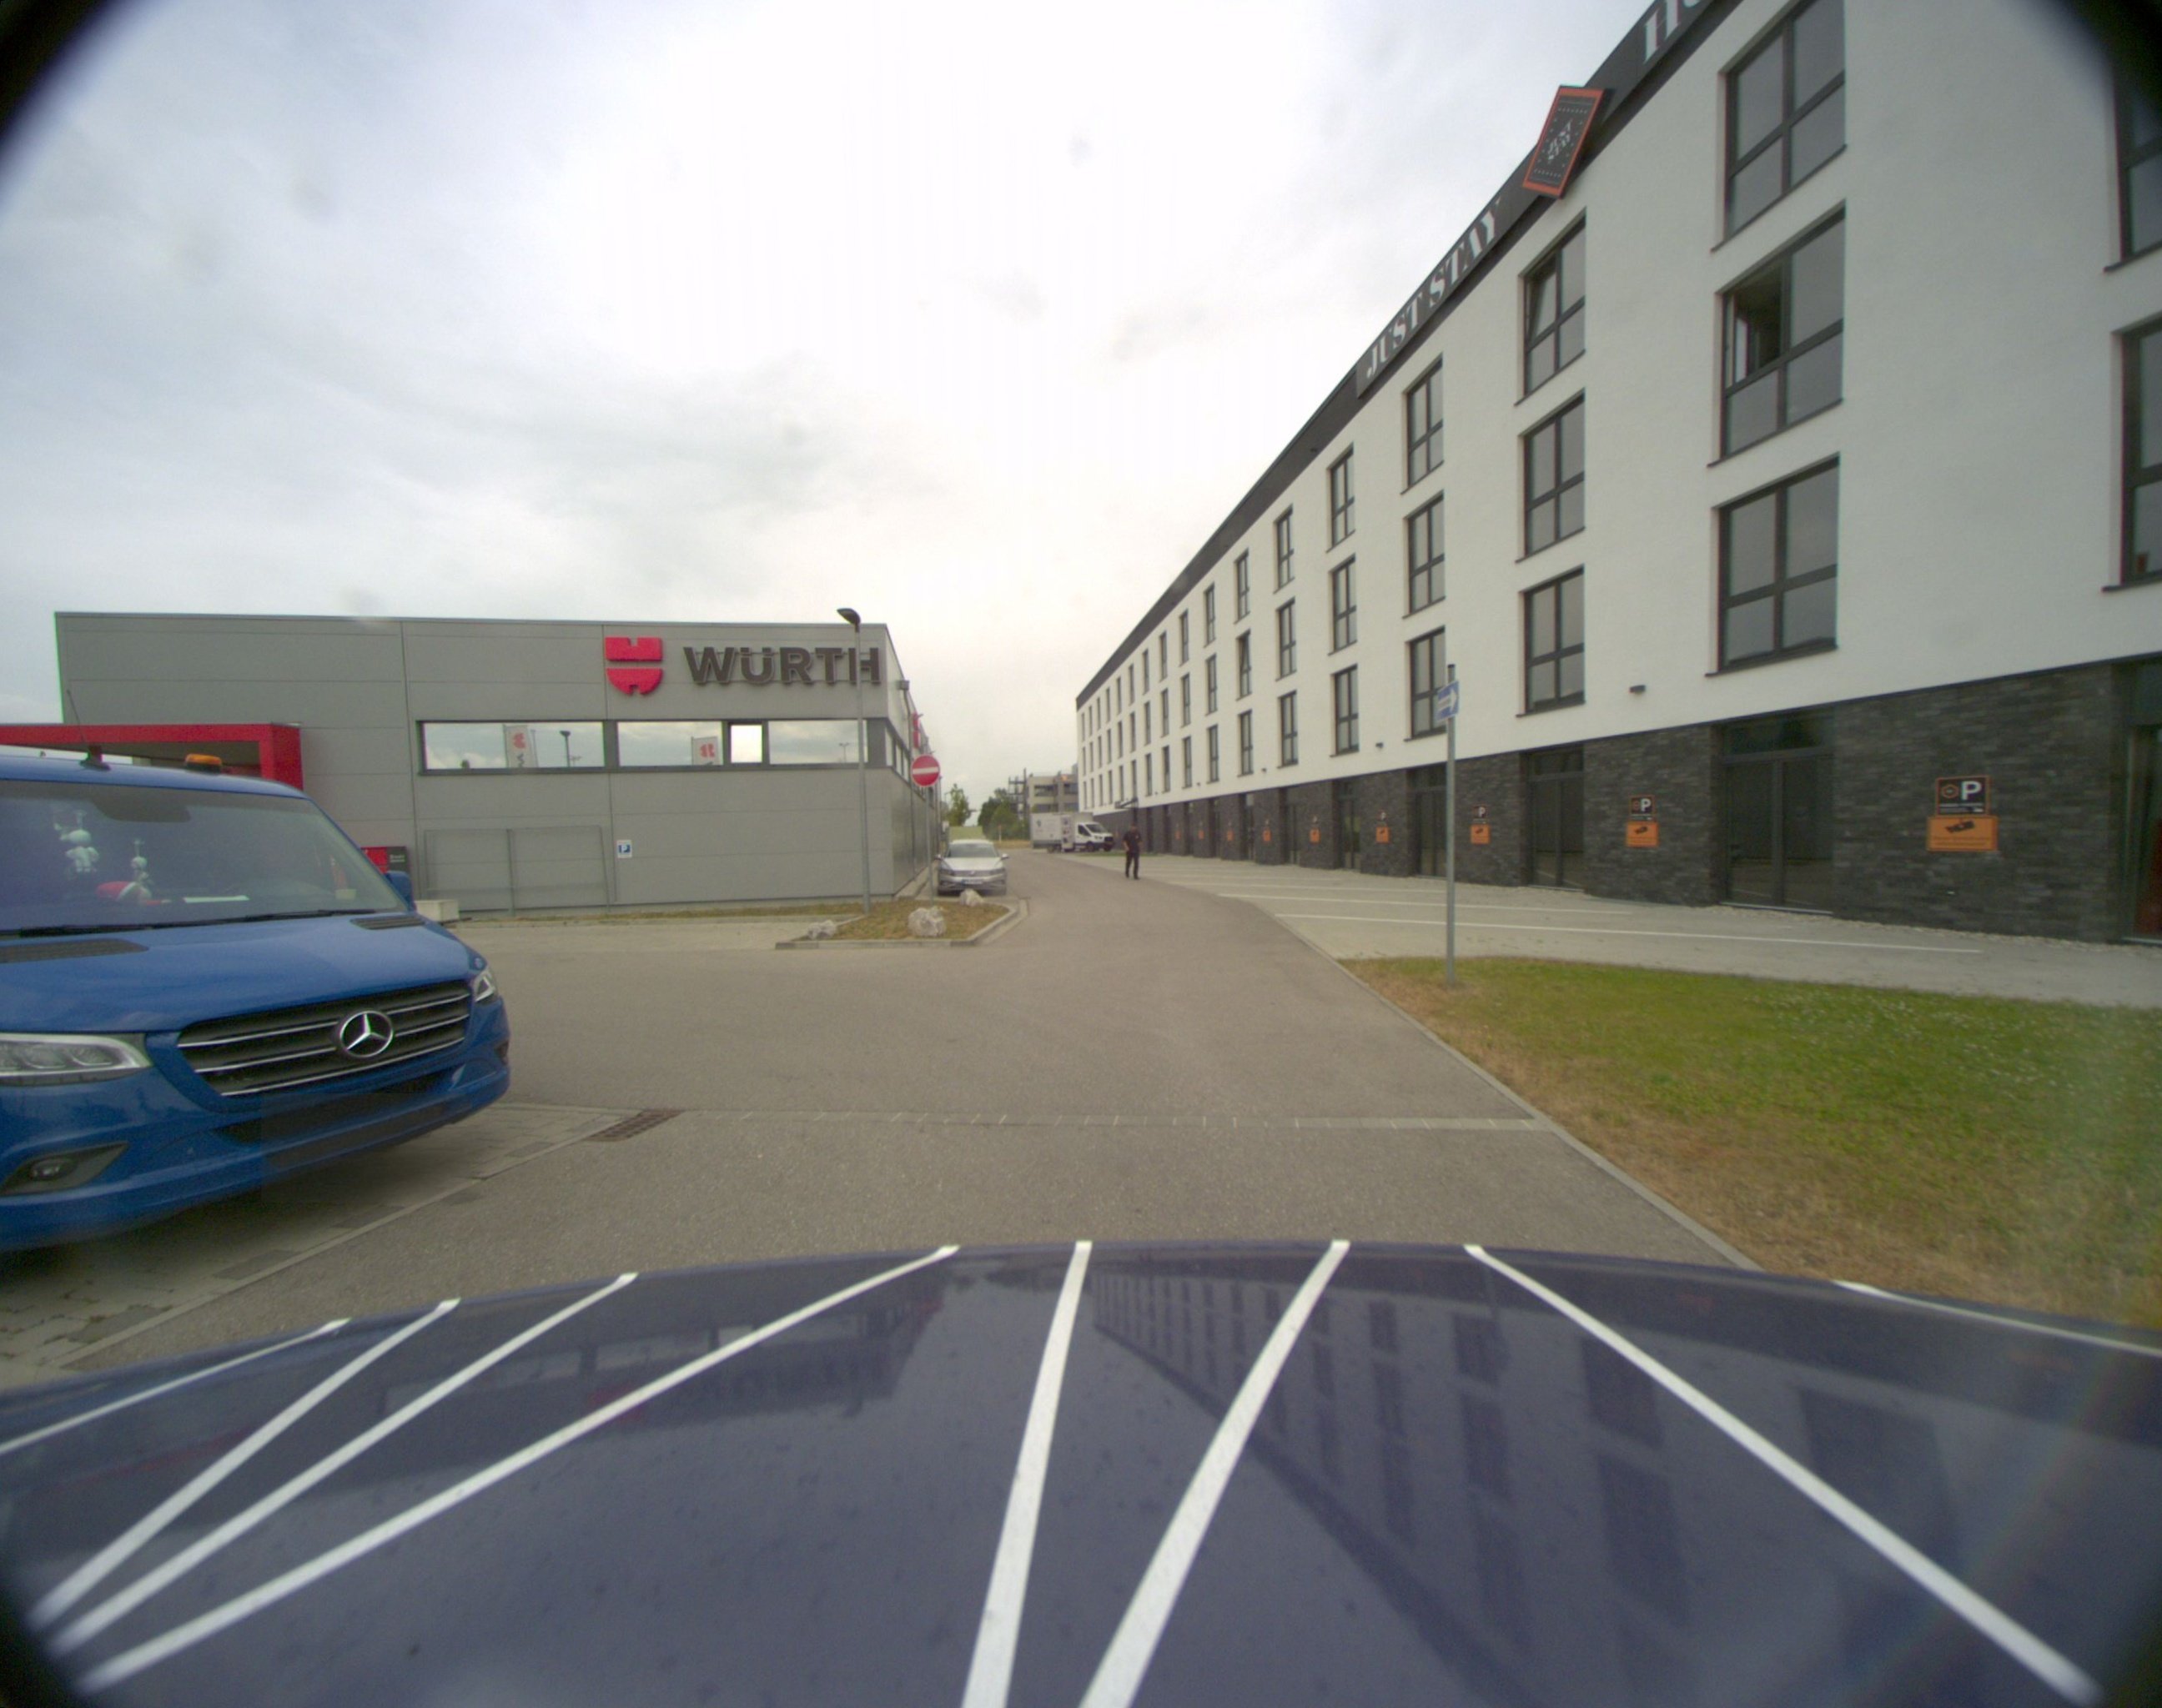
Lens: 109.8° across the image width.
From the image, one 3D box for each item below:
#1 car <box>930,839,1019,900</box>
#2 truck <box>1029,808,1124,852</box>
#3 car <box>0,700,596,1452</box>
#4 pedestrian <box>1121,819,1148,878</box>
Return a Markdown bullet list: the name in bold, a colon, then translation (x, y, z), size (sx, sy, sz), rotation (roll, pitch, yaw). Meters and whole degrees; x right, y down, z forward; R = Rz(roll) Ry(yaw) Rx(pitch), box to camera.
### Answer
- **car**: translation (-2.898, 0.350, 21.672), size (1.980, 1.483, 4.768), rotation (0, 2, -2)
- **truck**: translation (-0.388, -1.744, 55.587), size (7.048, 3.000, 2.441), rotation (0, 4, 42)
- **car**: translation (-6.897, 0.722, 4.218), size (7.842, 2.309, 2.203), rotation (-1, 1, 14)
- **pedestrian**: translation (1.658, -0.178, 23.763), size (0.709, 1.812, 0.812), rotation (-2, 3, -3)
